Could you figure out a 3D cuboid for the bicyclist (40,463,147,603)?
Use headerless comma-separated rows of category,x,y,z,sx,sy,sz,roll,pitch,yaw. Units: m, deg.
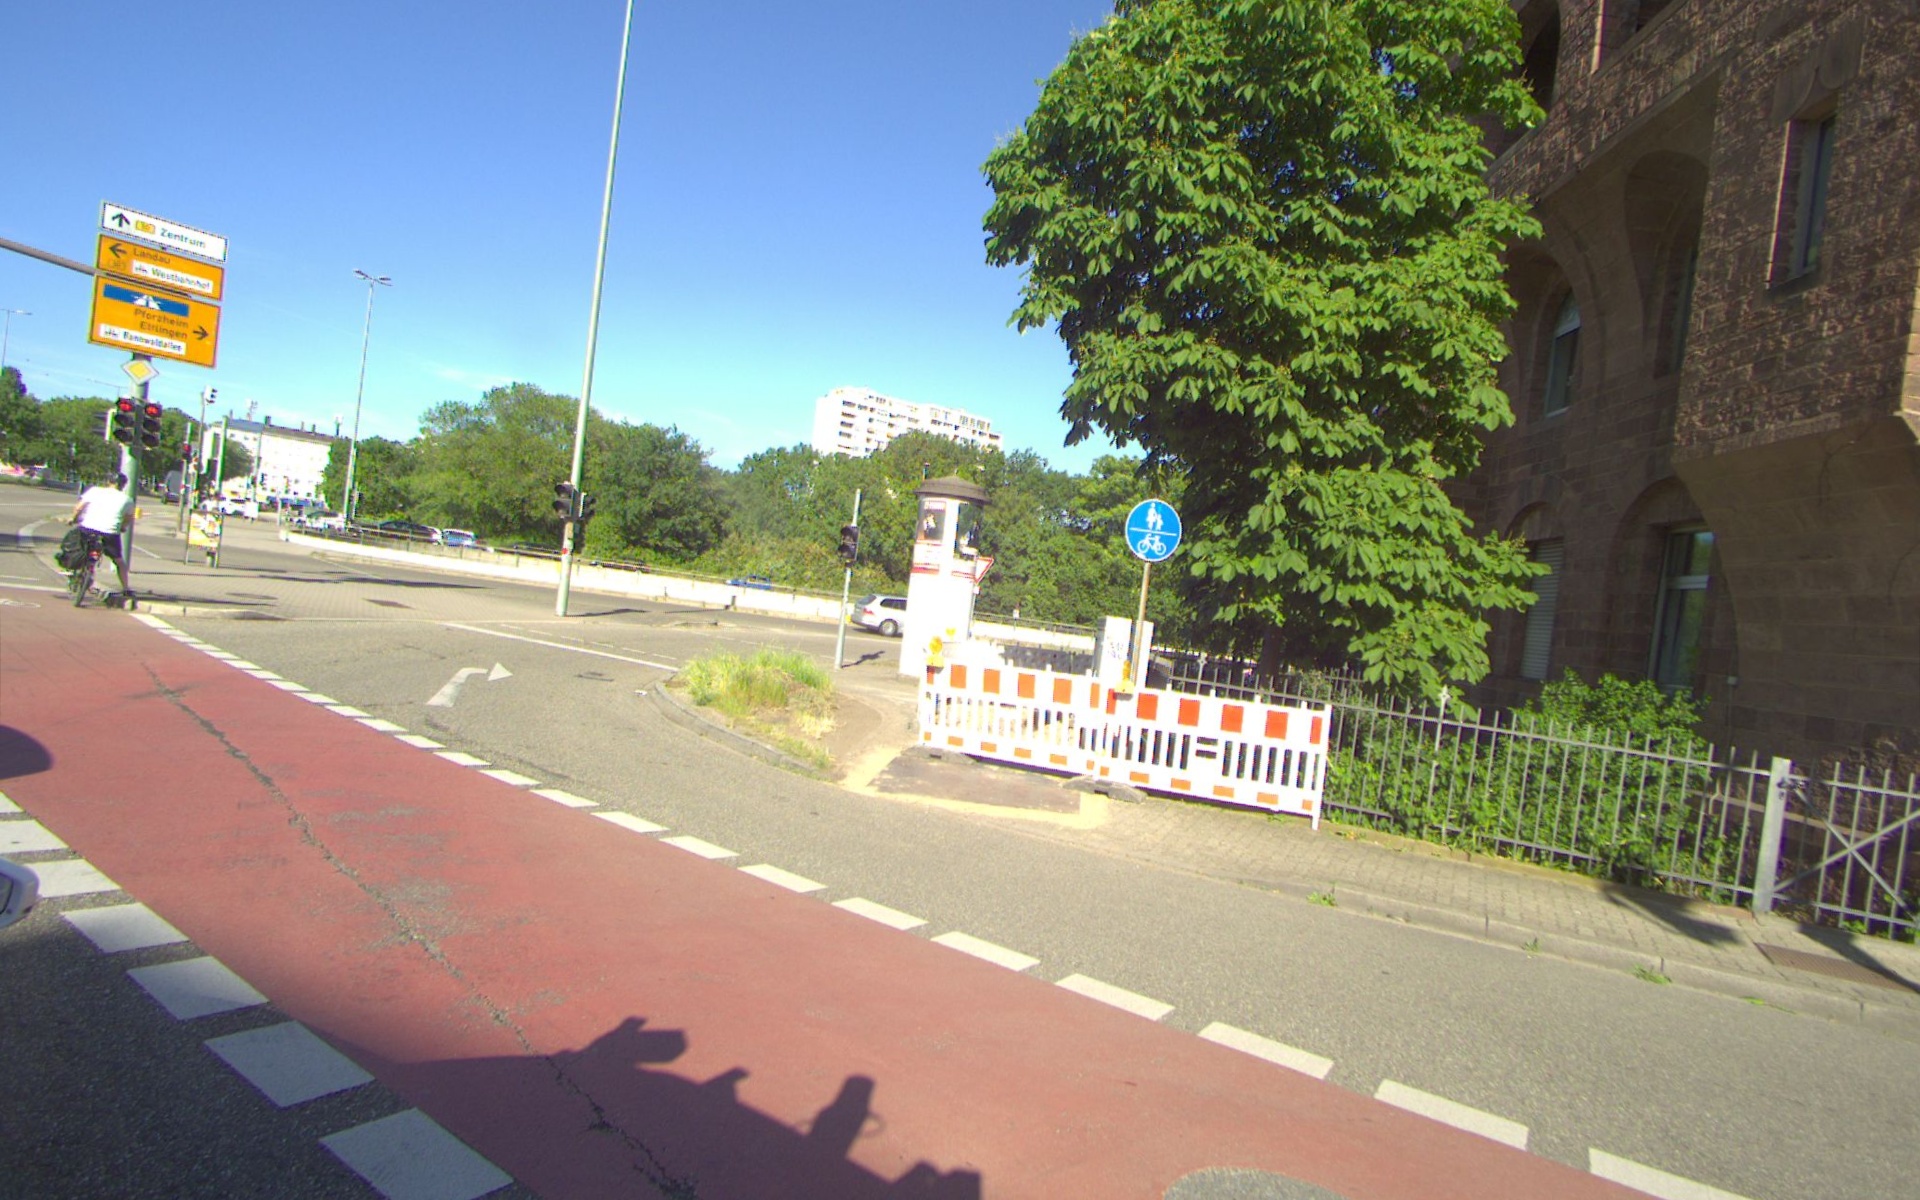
bicyclist,-11.786,-0.902,13.718,0.794,1.726,1.076,7,0,-32

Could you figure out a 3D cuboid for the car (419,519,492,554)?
car,-34.492,-4.329,68.819,3.933,1.705,1.853,8,1,-9

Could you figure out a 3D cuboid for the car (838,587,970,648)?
car,-2.009,0.625,36.145,4.294,1.512,1.746,9,0,-24

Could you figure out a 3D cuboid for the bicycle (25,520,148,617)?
bicycle,-11.847,-0.463,13.730,0.794,1.124,2.381,7,0,-32

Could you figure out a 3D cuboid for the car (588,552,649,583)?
car,-24.275,-2.270,71.515,3.944,1.681,1.992,7,-2,-21

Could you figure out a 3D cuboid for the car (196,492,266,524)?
car,-53.018,-6.697,73.137,3.924,1.770,2.002,6,-2,16

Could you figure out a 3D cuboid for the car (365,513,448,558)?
car,-33.554,-3.885,61.087,3.943,2.037,1.992,7,-2,-20

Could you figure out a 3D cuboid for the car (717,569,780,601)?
car,-15.721,-1.115,74.798,4.203,1.876,2.010,7,-2,-22

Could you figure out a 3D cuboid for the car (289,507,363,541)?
car,-44.088,-5.268,69.974,3.923,1.770,2.002,6,-2,13

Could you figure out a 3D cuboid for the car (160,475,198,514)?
car,-64.452,-8.635,82.991,2.244,2.638,4.836,7,-2,-39
